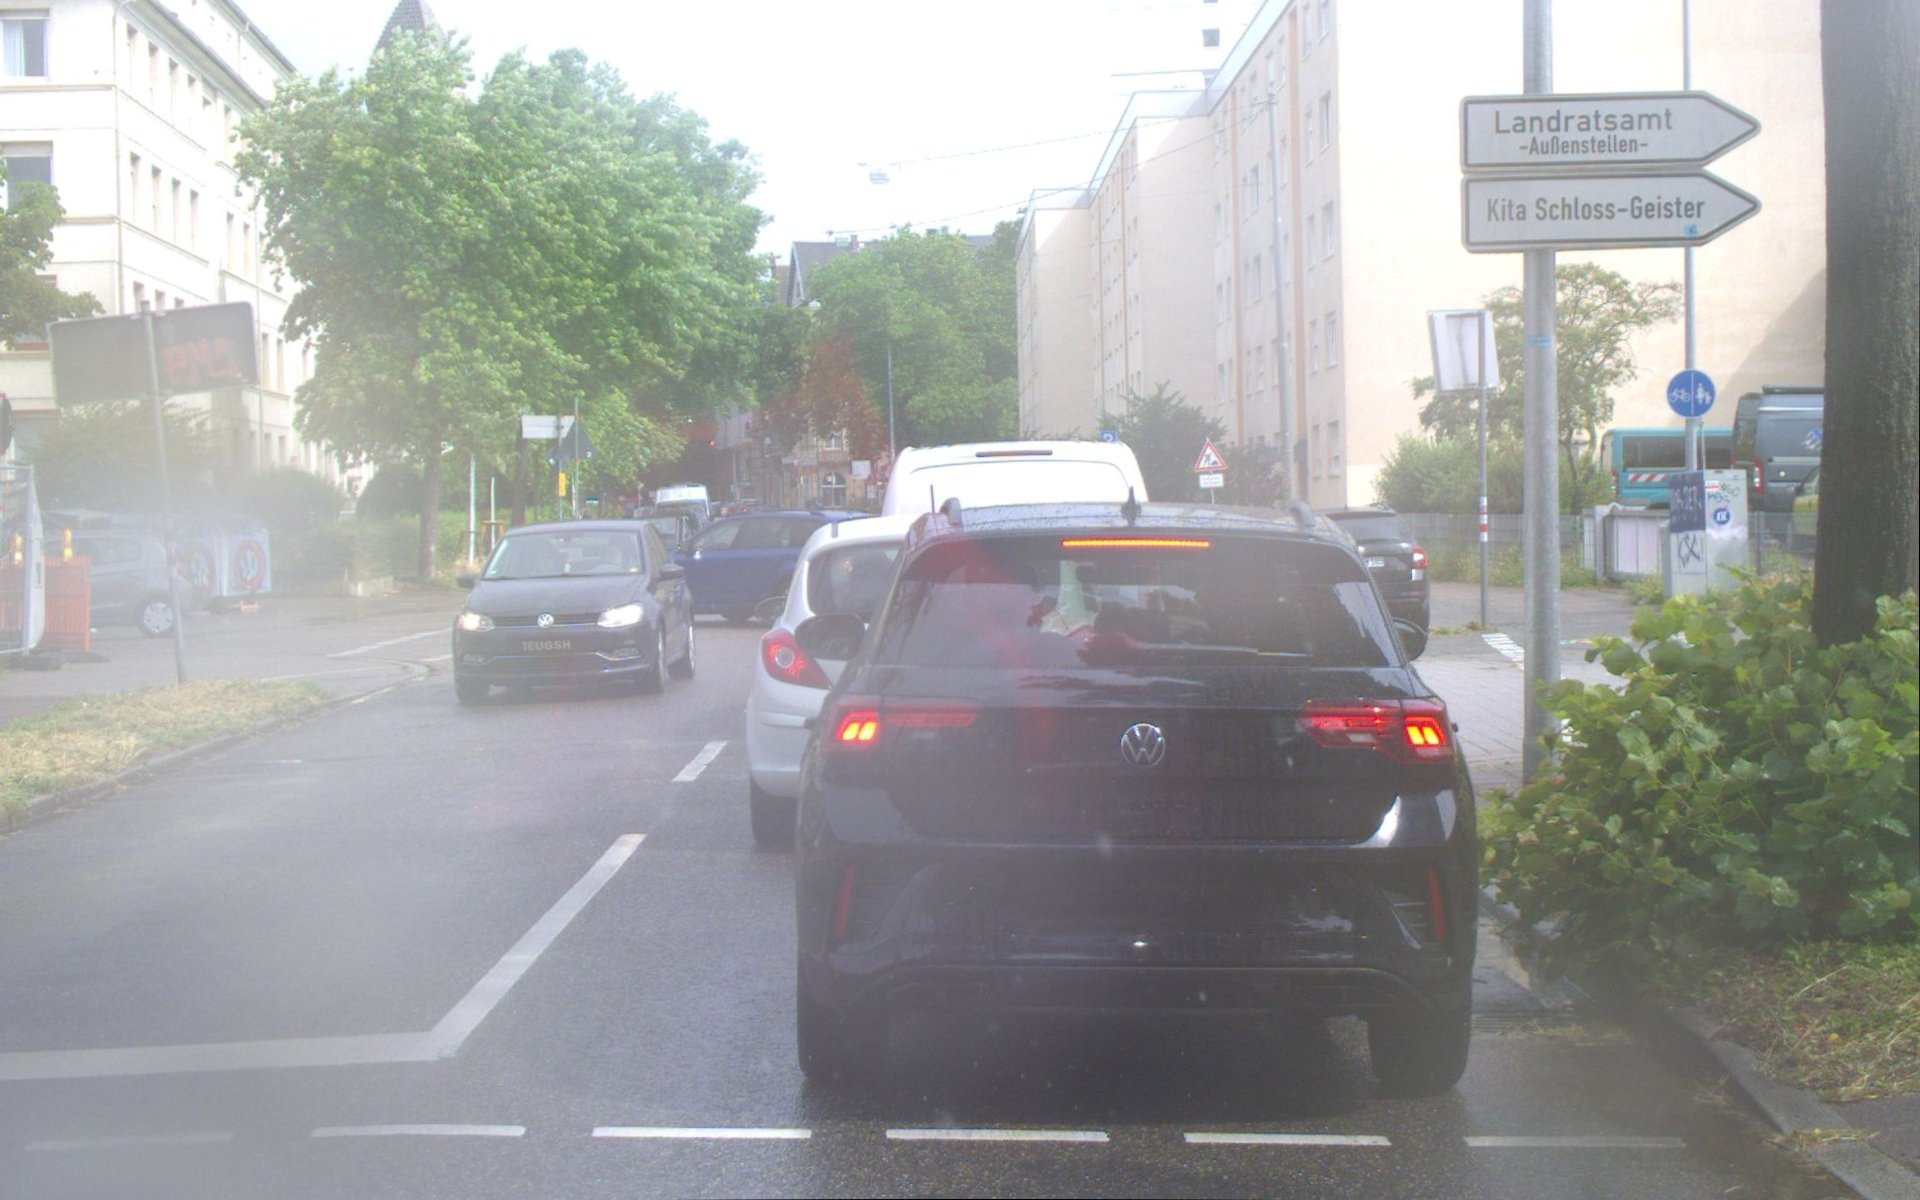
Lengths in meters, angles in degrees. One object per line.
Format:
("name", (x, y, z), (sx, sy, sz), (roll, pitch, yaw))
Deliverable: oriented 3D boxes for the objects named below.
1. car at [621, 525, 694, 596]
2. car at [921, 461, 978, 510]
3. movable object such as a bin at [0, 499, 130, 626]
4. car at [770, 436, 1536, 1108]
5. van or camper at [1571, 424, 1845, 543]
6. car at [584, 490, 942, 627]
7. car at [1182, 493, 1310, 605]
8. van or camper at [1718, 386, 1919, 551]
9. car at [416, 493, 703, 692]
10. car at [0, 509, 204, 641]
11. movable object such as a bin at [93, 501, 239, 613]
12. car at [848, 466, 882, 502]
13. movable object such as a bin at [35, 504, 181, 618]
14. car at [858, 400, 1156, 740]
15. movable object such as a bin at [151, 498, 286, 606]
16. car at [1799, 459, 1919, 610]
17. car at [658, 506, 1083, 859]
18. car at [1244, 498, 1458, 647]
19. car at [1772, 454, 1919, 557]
("car", (-7.021, -0.939, 79.963), (1.585, 1.500, 4.065), (-3, 2, -5))
("car", (-0.345, -3.959, 119.231), (1.841, 1.602, 3.675), (-3, 2, 1))
("movable object such as a bin", (-13.385, -0.560, 51.113), (1.539, 1.818, 1.262), (-1, 2, 19))
("car", (0.462, 0.392, 10.511), (1.873, 1.640, 4.062), (1, 1, 0))
("van or camper", (14.177, -2.220, 65.389), (4.760, 2.124, 2.321), (-1, 2, 4))
("car", (-2.534, -0.524, 43.561), (4.443, 1.579, 1.818), (0, 4, 41))
("car", (4.233, -0.735, 51.304), (1.757, 1.522, 3.999), (2, 0, 3))
("van or camper", (14.888, -2.097, 55.074), (4.998, 2.545, 2.175), (-1, 1, 1))
("car", (-3.260, -0.087, 28.660), (1.813, 1.535, 3.982), (0, 1, 2))
("car", (-12.298, -0.300, 46.490), (3.986, 1.631, 1.896), (-3, 0, -12))
("movable object such as a bin", (-12.508, -0.688, 54.211), (1.539, 1.668, 1.664), (-1, 2, 19))
("car", (-5.054, -6.139, 182.269), (1.665, 1.831, 4.001), (-2, 2, -2))
("movable object such as a bin", (-13.038, -0.609, 52.652), (1.539, 1.650, 1.526), (-1, 2, 19))
("car", (0.351, -0.216, 23.475), (1.836, 2.095, 4.000), (1, 1, 2))
("movable object such as a bin", (-12.008, -0.788, 55.724), (1.539, 1.656, 1.457), (-1, 2, 19))
("car", (11.641, -0.848, 42.095), (1.804, 1.744, 4.238), (-2, 2, 2))
("car", (-0.393, 0.325, 16.801), (1.813, 1.498, 4.000), (1, 1, 0))
("car", (4.474, -0.369, 39.932), (1.774, 1.534, 4.379), (-4, 2, -2))
("car", (13.321, -1.414, 51.368), (1.610, 1.444, 3.417), (-2, 2, 1))
